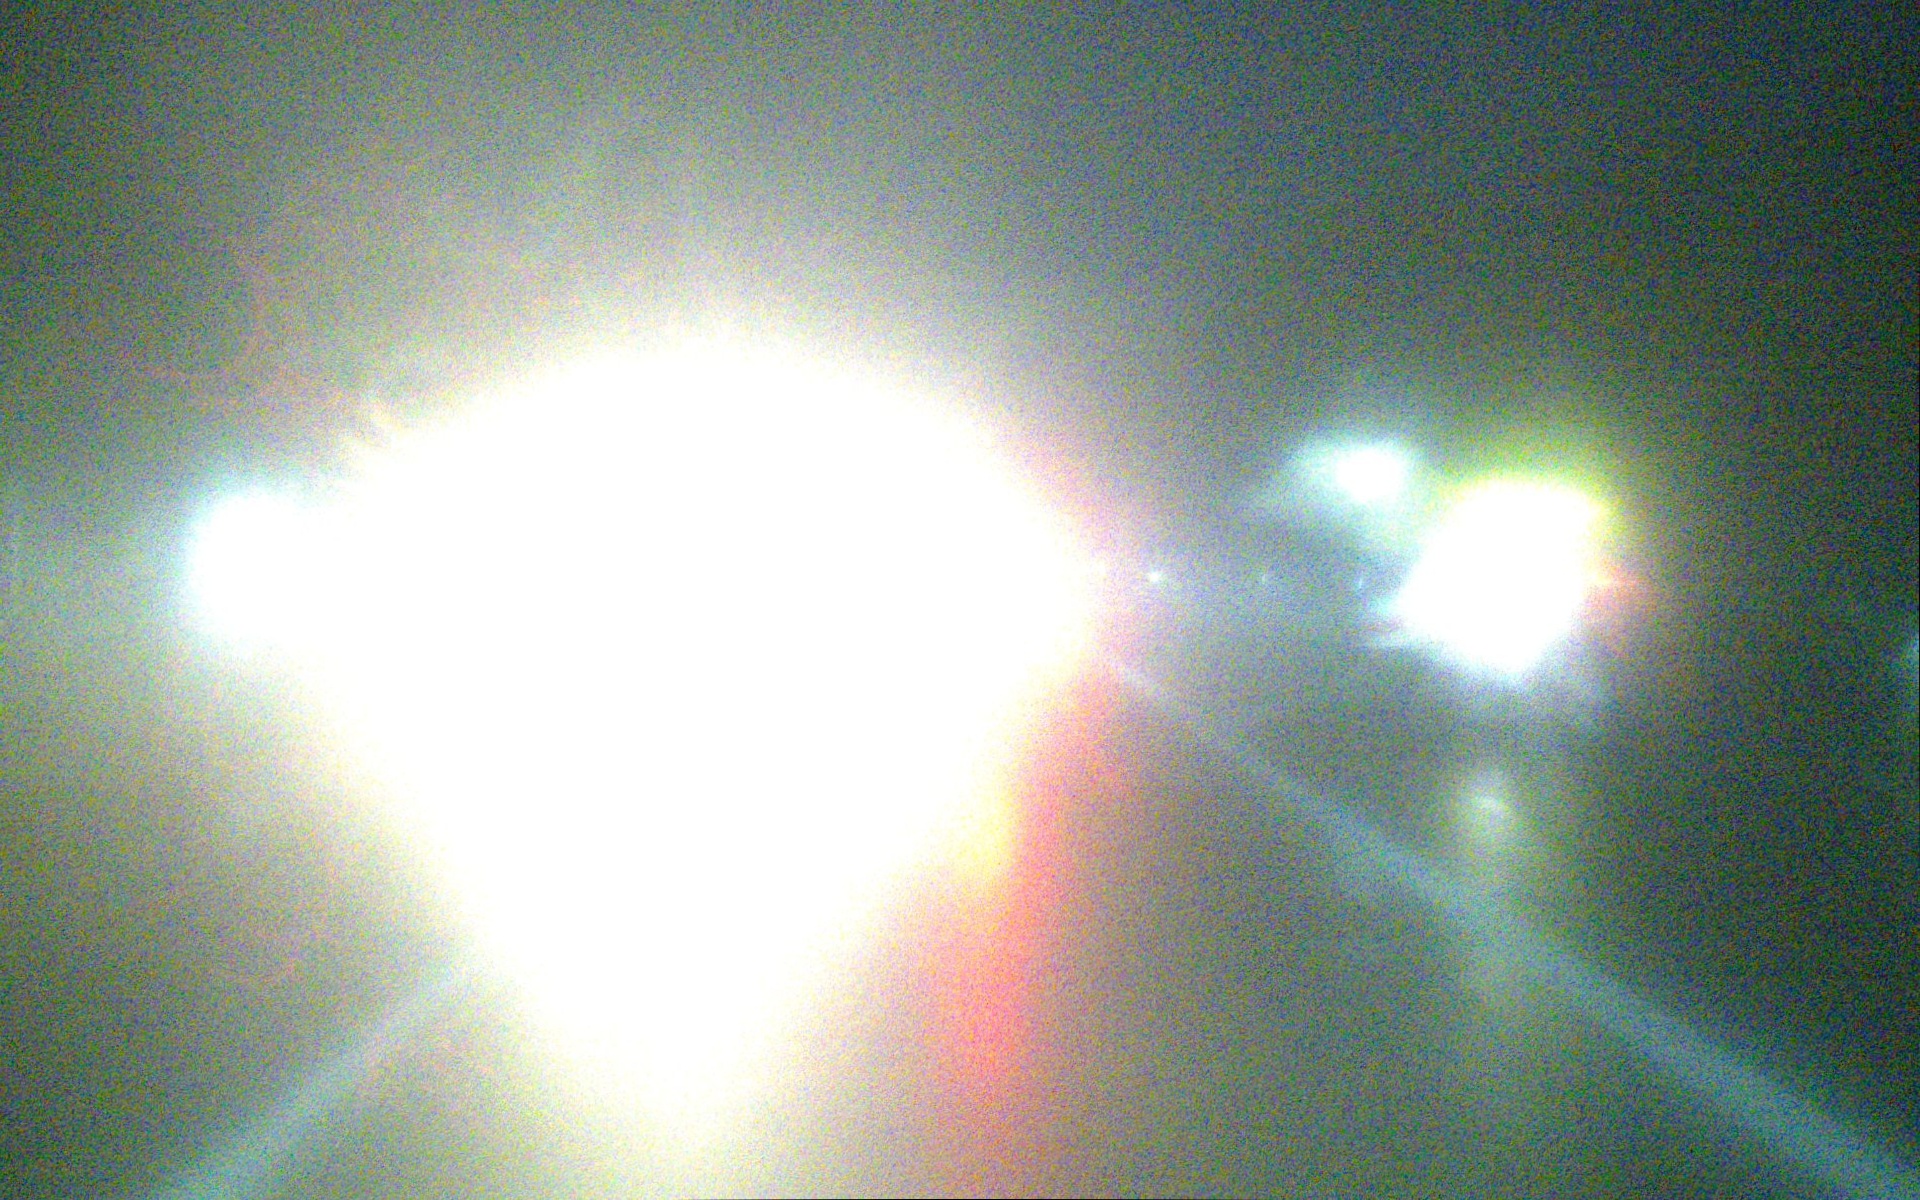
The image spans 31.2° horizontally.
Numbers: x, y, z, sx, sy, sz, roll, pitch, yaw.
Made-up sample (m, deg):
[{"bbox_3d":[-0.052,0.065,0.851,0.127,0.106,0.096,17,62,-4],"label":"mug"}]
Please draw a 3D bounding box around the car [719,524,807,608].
[{"bbox_3d":[-4.207,-0.738,73.226,1.790,1.685,4.001,1,1,-4],"label":"car"}]

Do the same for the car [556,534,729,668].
[{"bbox_3d":[-4.111,-0.018,44.981,1.900,1.639,3.791,1,1,0],"label":"car"}]

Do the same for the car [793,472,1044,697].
[{"bbox_3d":[-0.395,-0.141,26.972,1.808,1.616,4.001,1,1,-3],"label":"car"}]
